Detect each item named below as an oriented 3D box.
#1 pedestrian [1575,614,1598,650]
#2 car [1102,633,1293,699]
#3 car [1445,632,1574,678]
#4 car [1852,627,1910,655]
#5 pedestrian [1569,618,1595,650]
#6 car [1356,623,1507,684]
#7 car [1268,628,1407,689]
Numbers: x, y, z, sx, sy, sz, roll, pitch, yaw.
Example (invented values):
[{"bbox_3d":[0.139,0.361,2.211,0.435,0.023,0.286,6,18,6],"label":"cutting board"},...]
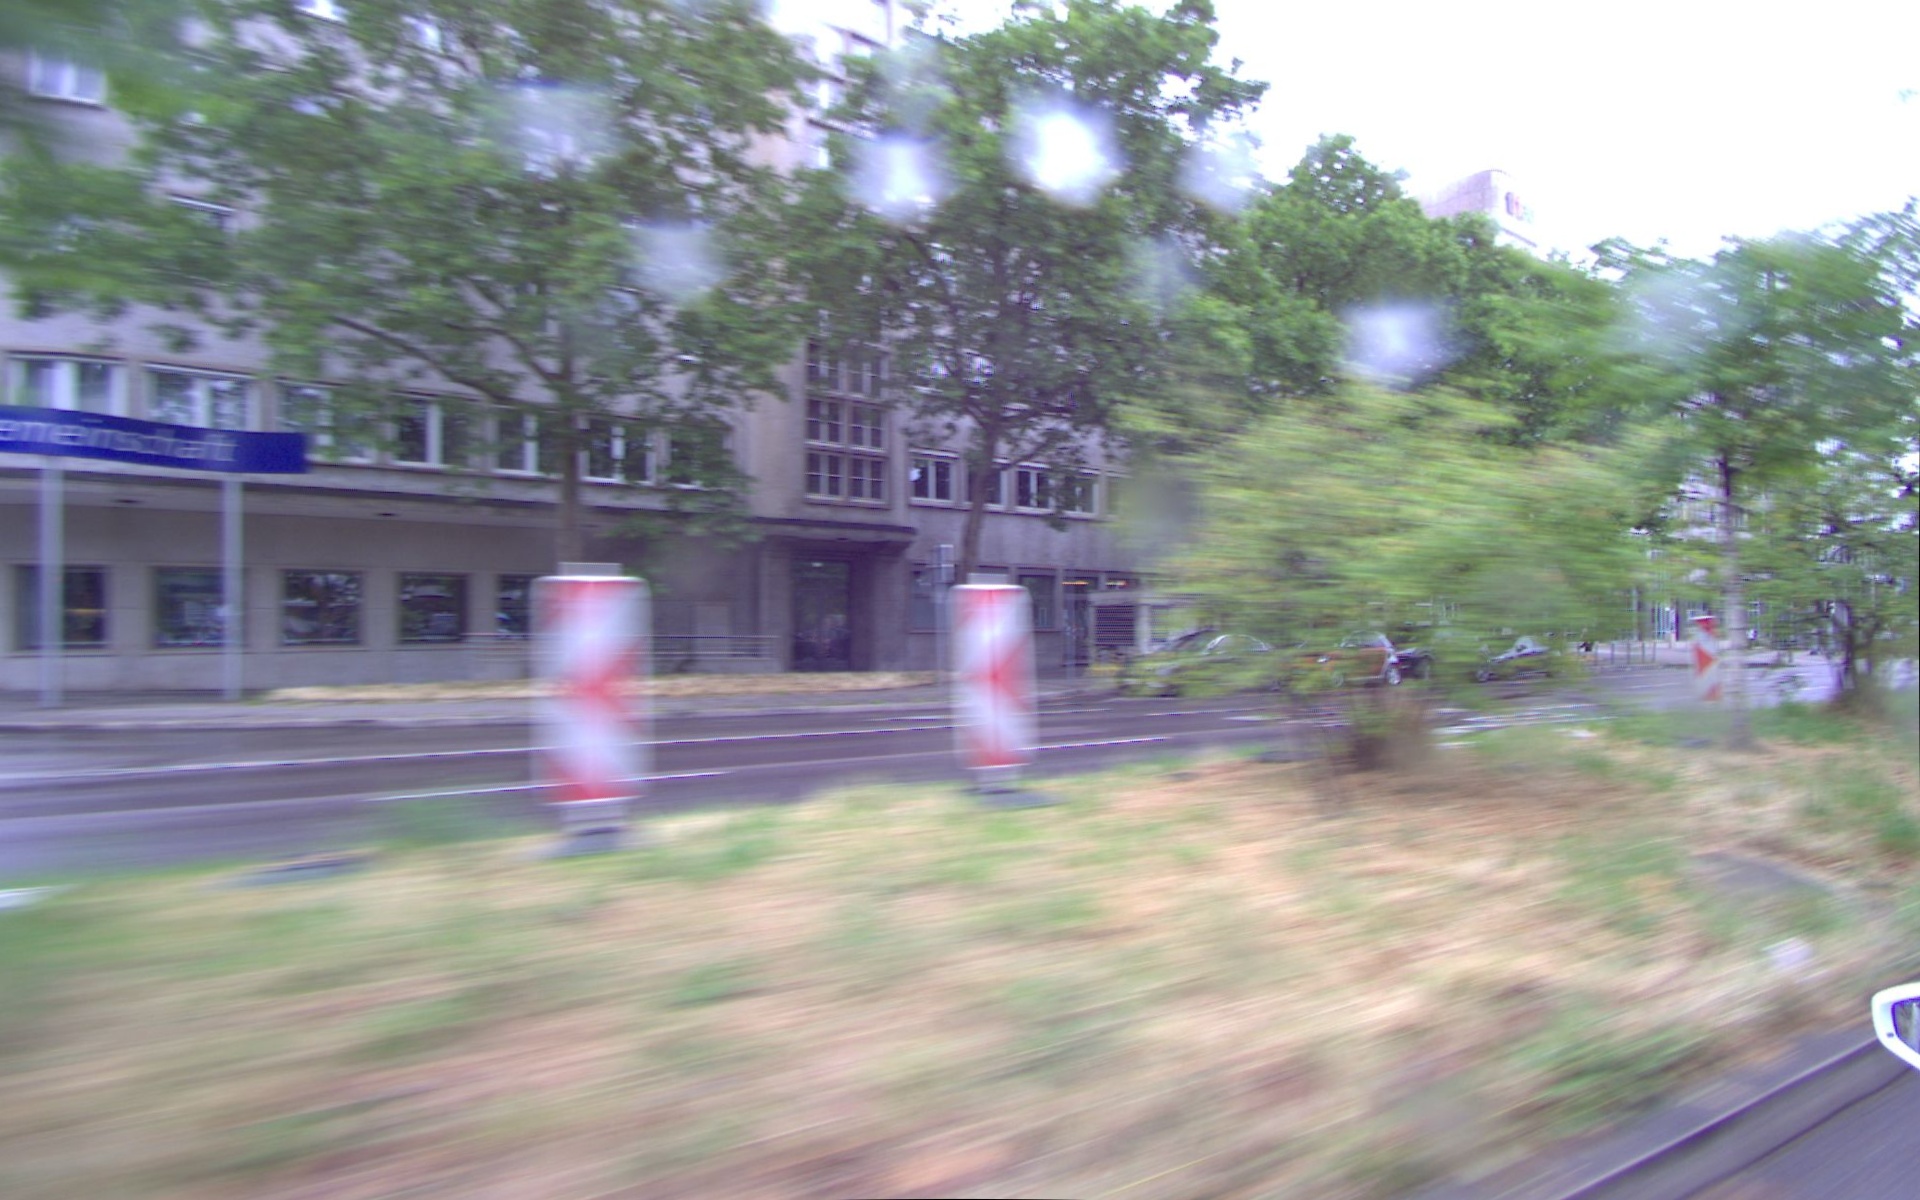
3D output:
[{"bbox_3d":[34.111,1.729,54.708,0.670,1.943,0.837,1,-1,-34],"label":"pedestrian"},{"bbox_3d":[5.767,1.548,24.215,4.621,1.453,1.759,1,-4,-33],"label":"car"},{"bbox_3d":[18.124,1.784,33.050,4.605,1.412,1.758,1,-4,-34],"label":"car"},{"bbox_3d":[54.203,2.426,59.105,4.040,1.556,1.861,2,-3,-38],"label":"car"},{"bbox_3d":[33.447,1.816,54.036,0.670,1.667,0.987,1,-1,-36],"label":"pedestrian"},{"bbox_3d":[14.040,1.581,29.827,4.790,1.674,1.759,1,-4,-33],"label":"car"},{"bbox_3d":[10.085,1.549,26.775,3.588,1.539,1.677,1,-4,-34],"label":"car"}]
